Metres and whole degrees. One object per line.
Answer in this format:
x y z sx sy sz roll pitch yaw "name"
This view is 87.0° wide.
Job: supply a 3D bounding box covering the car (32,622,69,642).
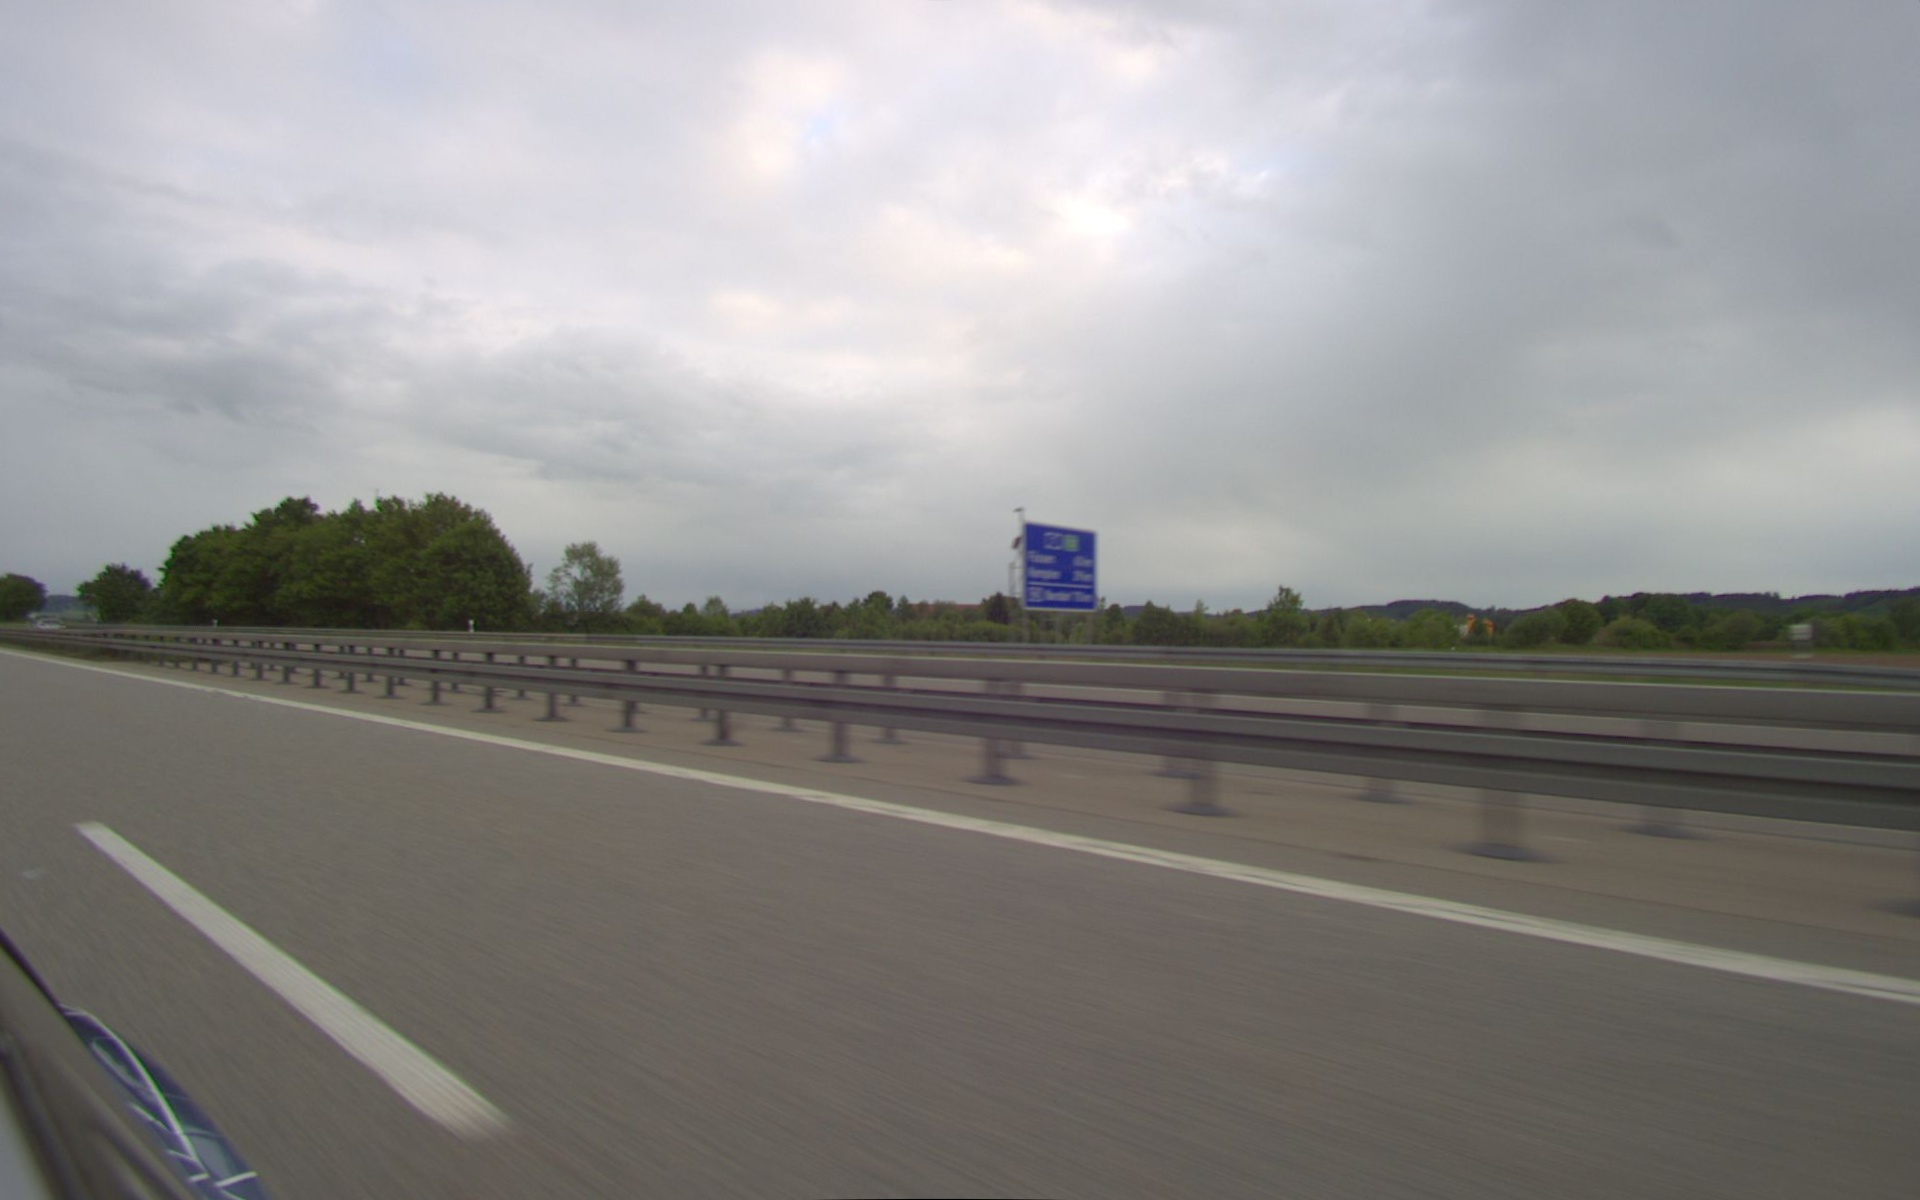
-76.492 2.653 85.078 4.854 1.586 1.722 -1 0 41 "car"
